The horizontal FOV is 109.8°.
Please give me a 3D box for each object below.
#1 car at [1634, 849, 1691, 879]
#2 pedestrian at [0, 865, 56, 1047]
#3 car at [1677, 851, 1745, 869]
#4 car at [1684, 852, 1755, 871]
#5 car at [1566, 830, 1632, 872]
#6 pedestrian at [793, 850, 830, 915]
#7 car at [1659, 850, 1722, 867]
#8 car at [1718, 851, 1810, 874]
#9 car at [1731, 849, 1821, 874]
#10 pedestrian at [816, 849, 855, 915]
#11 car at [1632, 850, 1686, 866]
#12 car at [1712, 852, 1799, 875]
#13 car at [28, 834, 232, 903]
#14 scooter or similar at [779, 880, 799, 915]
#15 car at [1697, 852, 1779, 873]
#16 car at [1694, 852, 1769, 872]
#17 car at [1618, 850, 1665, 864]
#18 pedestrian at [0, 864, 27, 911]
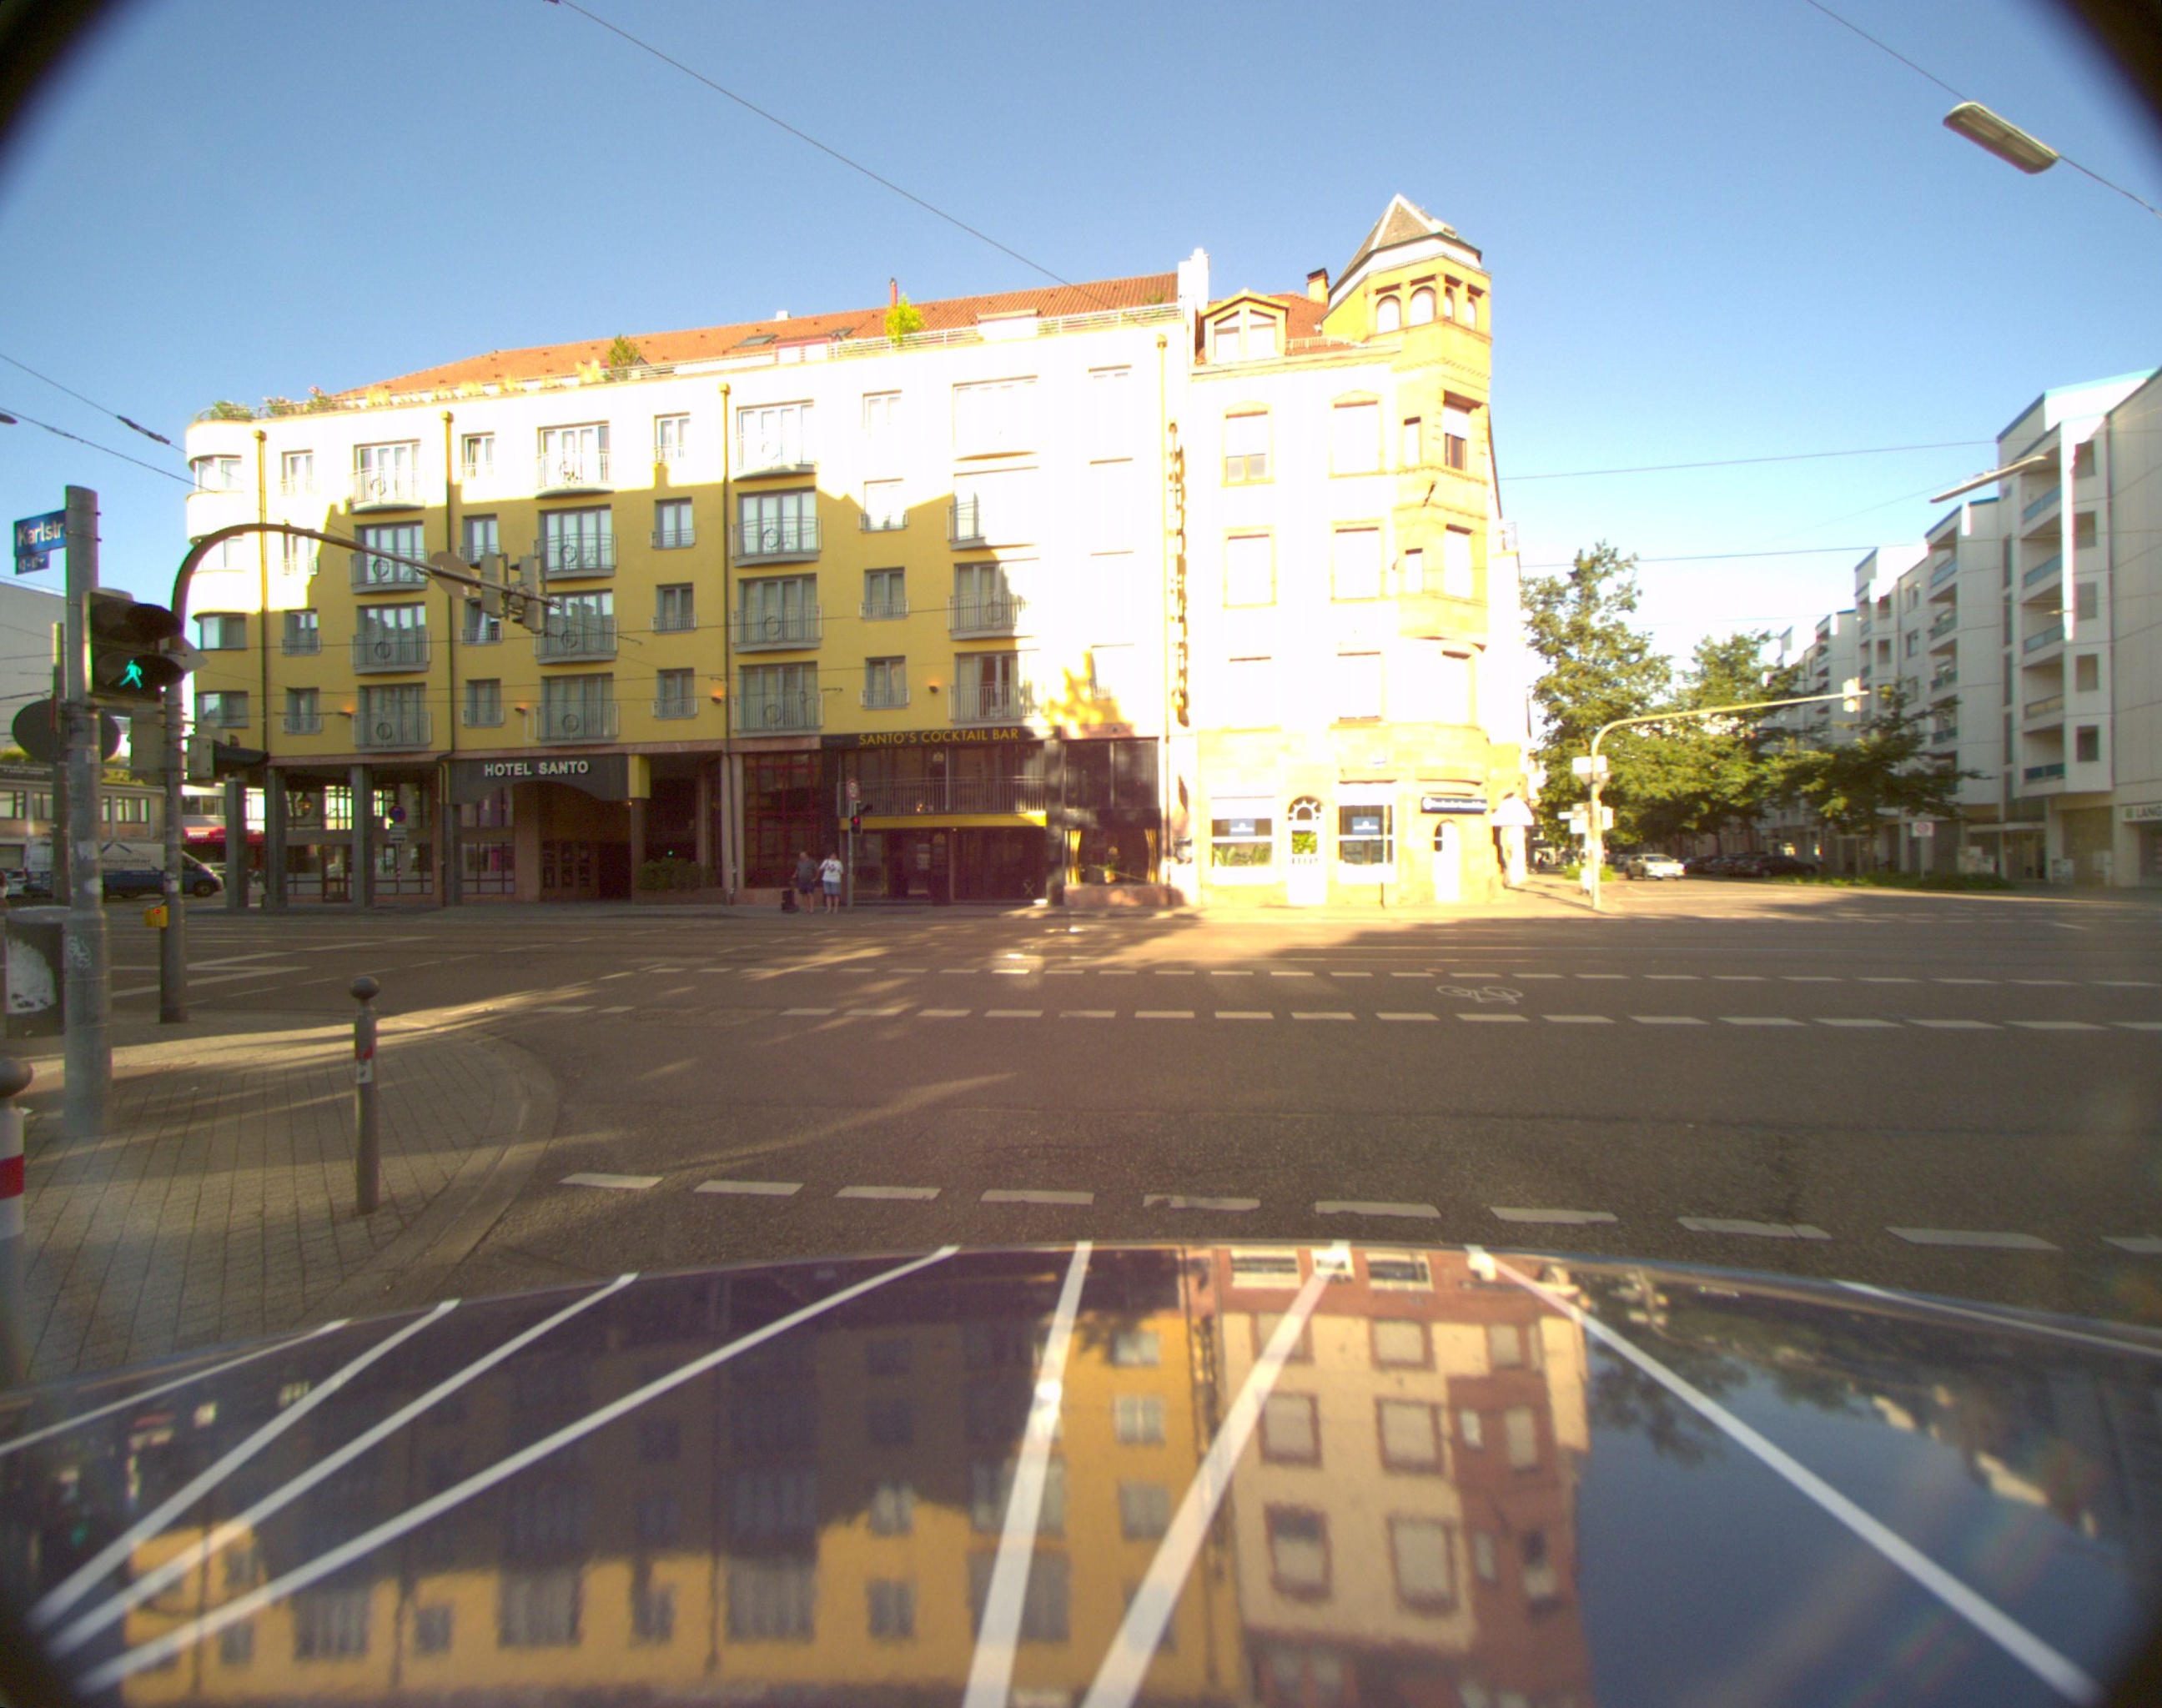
[{"bbox_3d":[36.077,0.593,47.237,1.995,1.739,4.007,-1,0,25],"label":"car"},{"bbox_3d":[-10.509,0.948,6.812,1.174,1.670,1.006,-1,0,-16],"label":"pedestrian"},{"bbox_3d":[55.682,0.538,67.271,4.294,1.575,2.003,-1,0,25],"label":"car"},{"bbox_3d":[54.631,0.602,65.094,4.294,1.575,2.003,-1,0,25],"label":"car"},{"bbox_3d":[41.785,-0.211,61.566,3.317,3.160,8.097,0,0,26],"label":"car"},{"bbox_3d":[-7.869,0.820,22.189,0.678,1.831,0.727,-1,4,9],"label":"pedestrian"},{"bbox_3d":[57.504,0.412,71.826,4.294,1.575,2.003,-1,0,25],"label":"car"},{"bbox_3d":[47.271,0.594,52.698,4.294,1.575,2.003,-1,0,24],"label":"car"},{"bbox_3d":[46.113,0.507,50.534,3.990,1.575,2.003,-1,0,24],"label":"car"},{"bbox_3d":[-7.049,0.806,21.826,0.734,1.831,0.727,-1,4,9],"label":"pedestrian"},{"bbox_3d":[61.748,0.430,81.215,4.294,1.575,2.003,-1,0,25],"label":"car"},{"bbox_3d":[48.647,0.693,54.902,4.294,1.575,2.003,-1,0,24],"label":"car"},{"bbox_3d":[-41.209,0.593,33.182,2.056,2.742,5.153,-1,0,11],"label":"car"},{"bbox_3d":[-8.445,1.266,21.996,0.357,0.972,0.423,-1,4,7],"label":"scooter or similar"},{"bbox_3d":[49.397,0.633,57.230,4.294,1.575,2.003,-1,0,24],"label":"car"},{"bbox_3d":[53.126,0.690,62.165,4.294,1.575,2.003,-1,0,25],"label":"car"},{"bbox_3d":[67.757,0.387,91.875,4.294,1.575,2.003,-1,0,25],"label":"car"},{"bbox_3d":[-39.224,1.227,27.675,0.689,1.685,0.726,-1,0,7],"label":"pedestrian"}]
